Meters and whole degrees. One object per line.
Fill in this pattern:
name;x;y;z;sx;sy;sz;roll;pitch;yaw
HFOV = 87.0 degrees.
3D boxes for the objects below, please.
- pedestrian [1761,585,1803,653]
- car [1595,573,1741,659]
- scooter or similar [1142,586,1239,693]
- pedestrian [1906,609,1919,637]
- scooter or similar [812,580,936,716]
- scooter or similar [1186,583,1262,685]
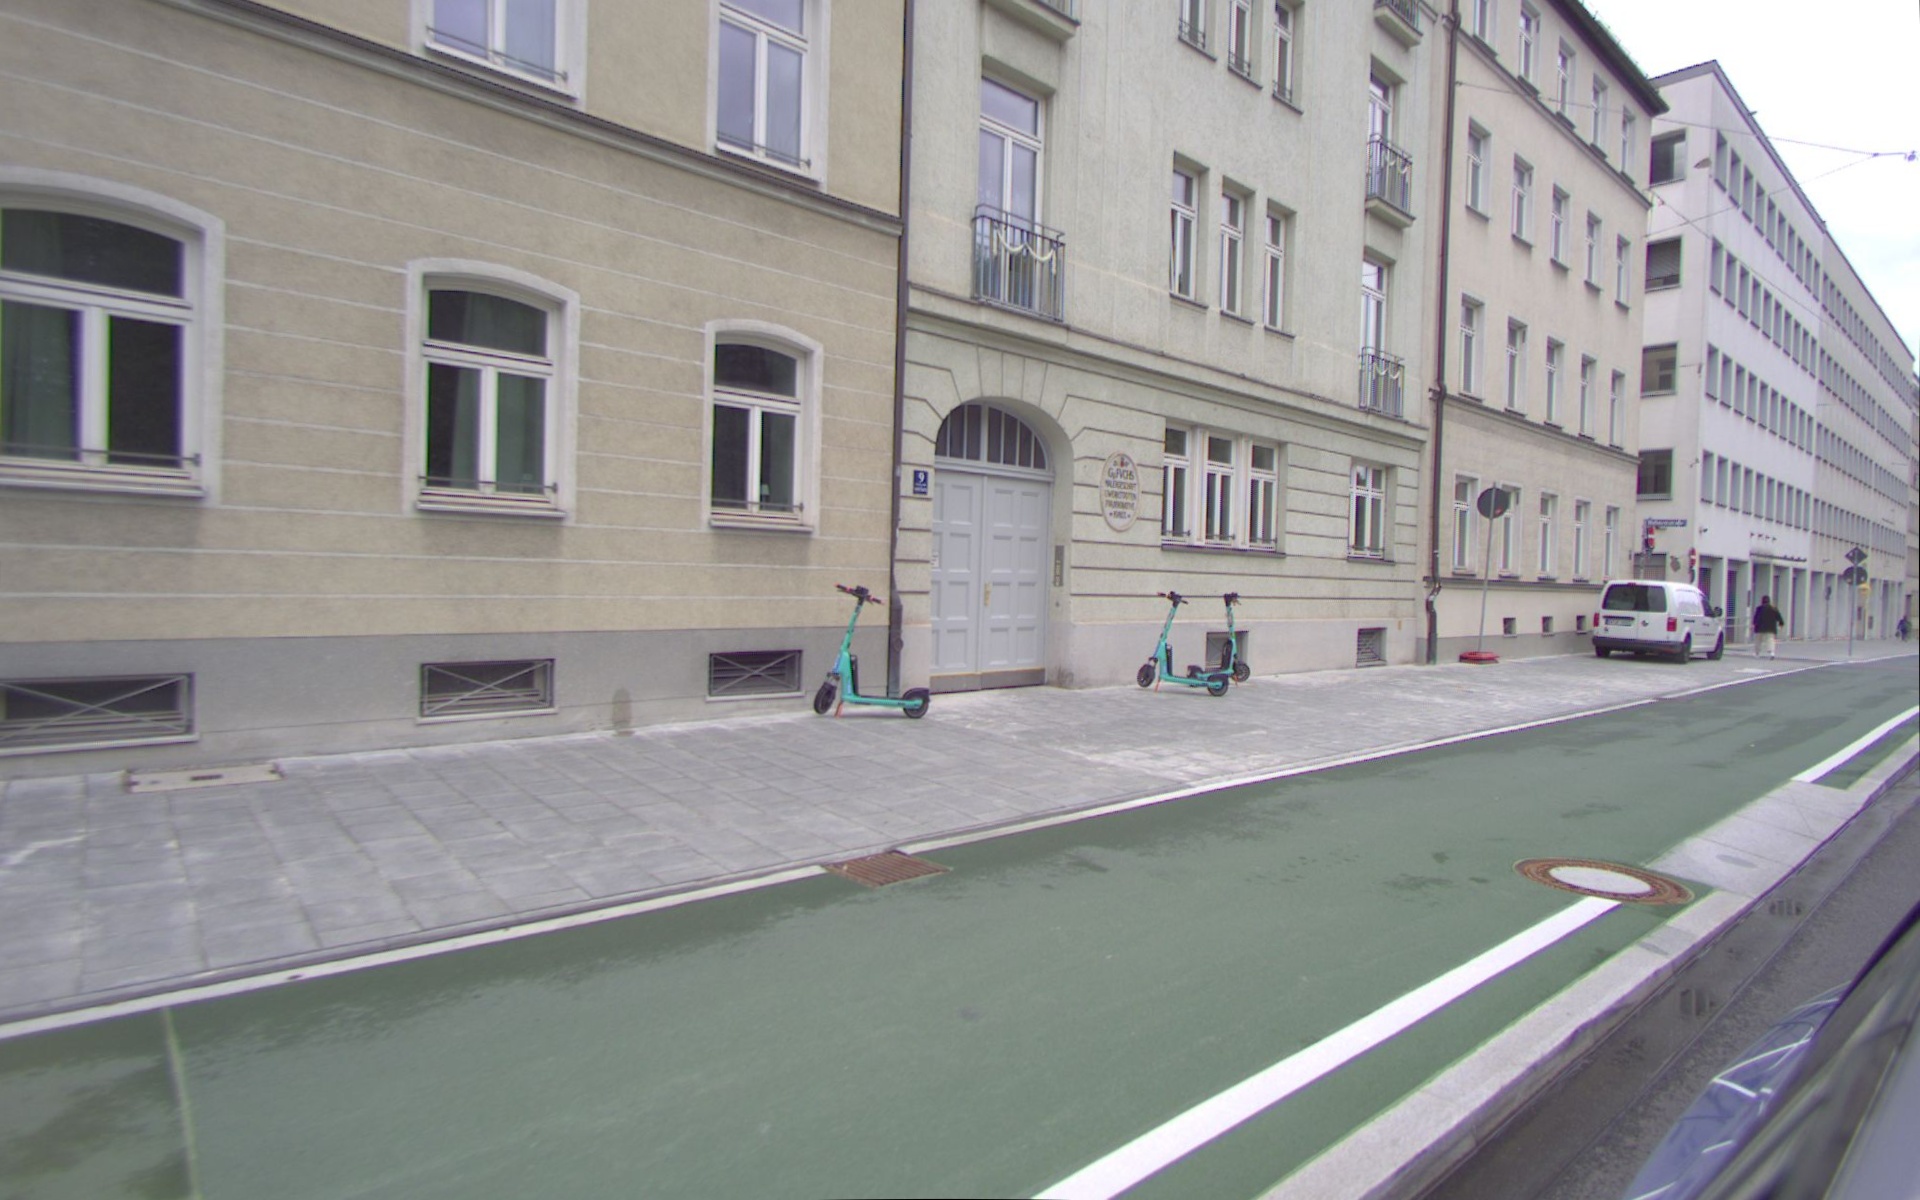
pedestrian;20.879;0.471;25.707;0.724;1.656;0.666;1;2;-41
car;16.539;0.333;23.555;4.357;1.771;1.737;1;2;-41
scooter or similar;2.855;0.478;12.564;1.104;1.246;0.246;3;3;16
pedestrian;58.098;1.417;61.426;0.692;1.638;0.754;1;5;-41
scooter or similar;-0.807;0.455;9.547;1.096;1.246;0.248;2;3;-15
scooter or similar;3.539;0.435;13.544;1.100;1.288;0.387;0;4;-42
